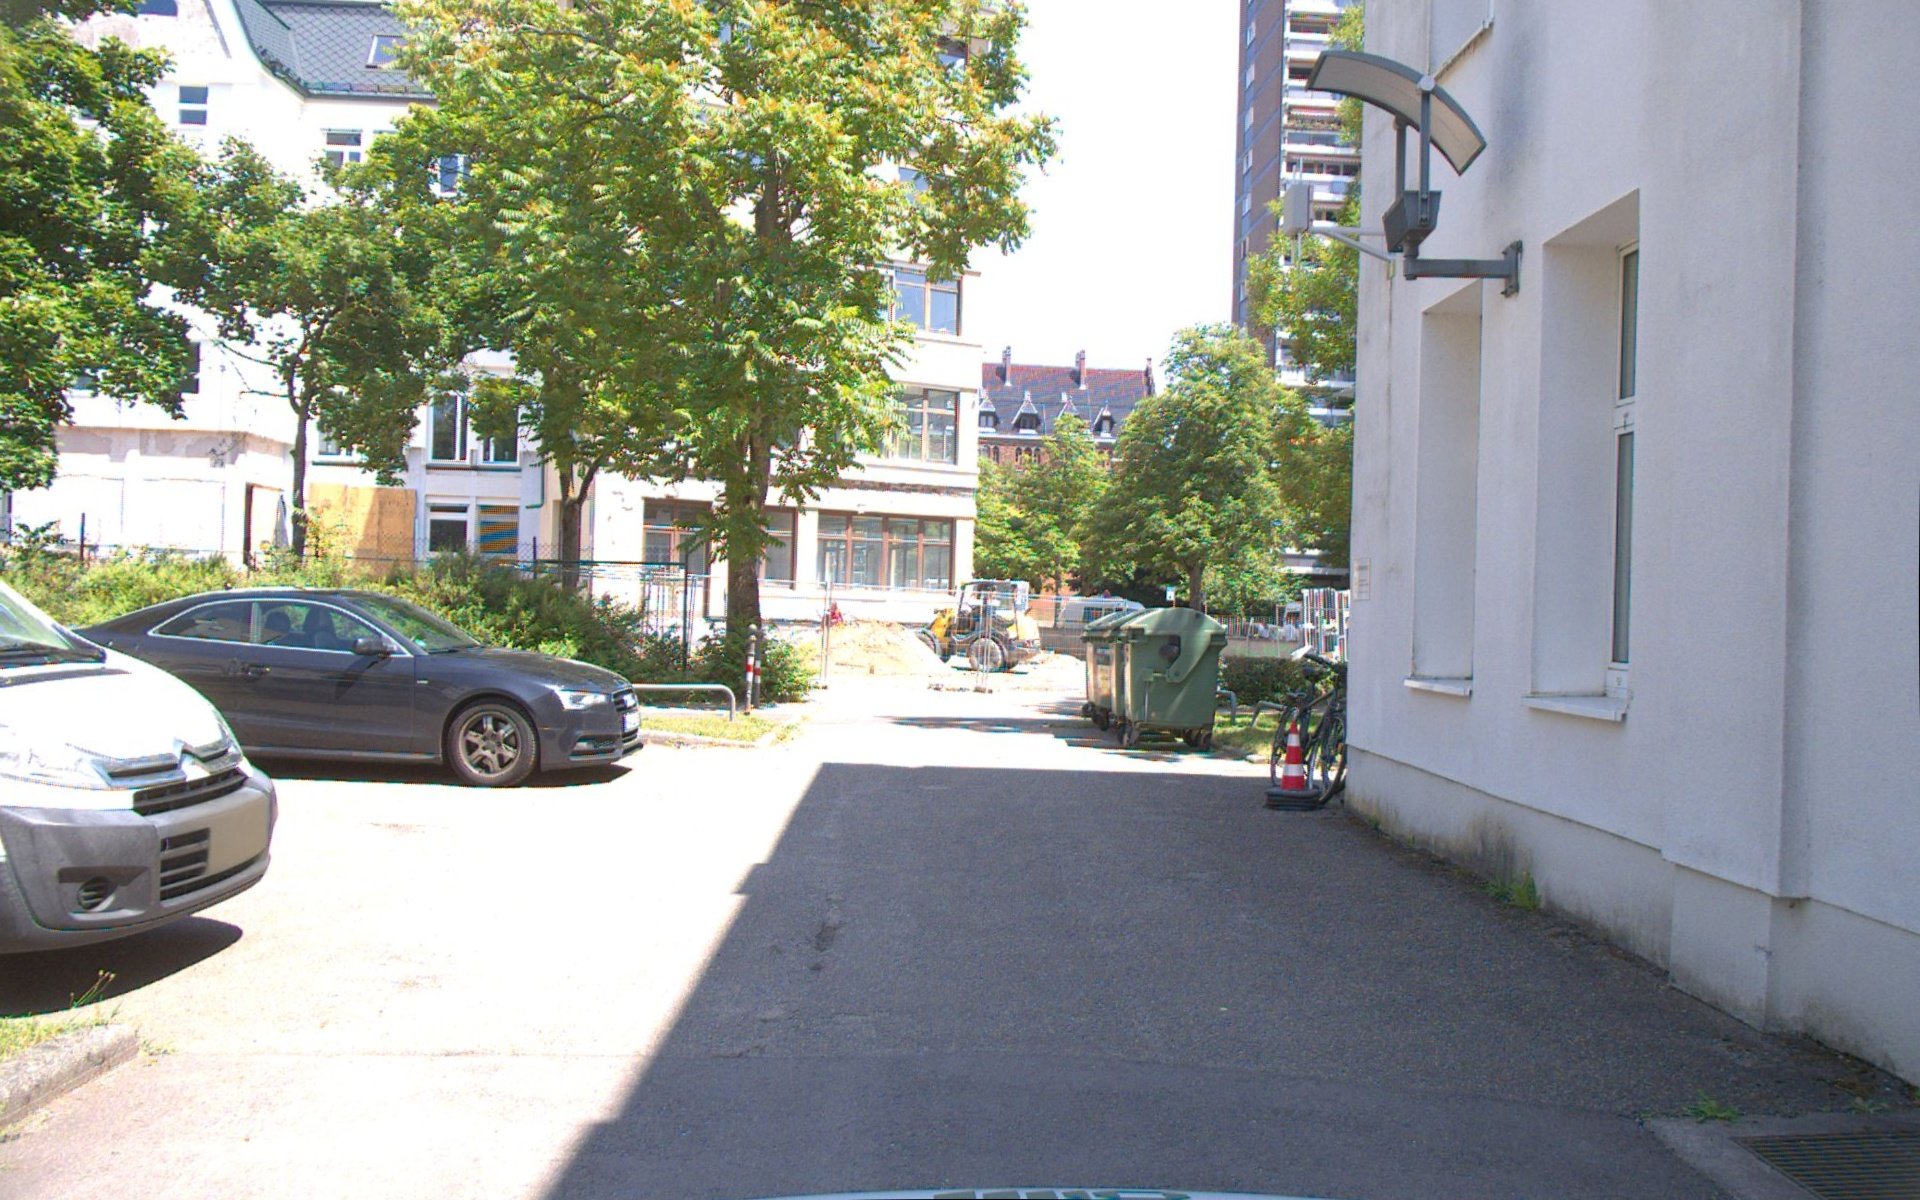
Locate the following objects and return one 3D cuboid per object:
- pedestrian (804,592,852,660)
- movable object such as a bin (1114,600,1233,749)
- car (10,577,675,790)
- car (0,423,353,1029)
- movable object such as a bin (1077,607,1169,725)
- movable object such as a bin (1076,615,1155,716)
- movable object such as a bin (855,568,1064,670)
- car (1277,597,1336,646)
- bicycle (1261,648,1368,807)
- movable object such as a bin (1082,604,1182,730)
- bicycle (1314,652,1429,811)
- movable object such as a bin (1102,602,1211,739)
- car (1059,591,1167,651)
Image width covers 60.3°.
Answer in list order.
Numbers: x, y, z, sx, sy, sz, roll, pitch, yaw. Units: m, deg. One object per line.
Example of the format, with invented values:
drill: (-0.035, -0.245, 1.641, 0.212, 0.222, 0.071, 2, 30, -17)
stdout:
pedestrian: (-3.758, 0.744, 47.064, 0.966, 1.879, 0.914, 1, -1, 35)
movable object such as a bin: (2.241, 0.770, 17.553, 1.053, 1.483, 1.377, 1, -1, 0)
car: (-4.591, 0.610, 12.837, 4.338, 1.404, 2.024, 2, -1, 1)
car: (-5.115, 0.355, 6.324, 4.747, 1.916, 2.067, 2, -1, 1)
movable object such as a bin: (2.141, 0.854, 21.887, 1.053, 1.483, 1.377, 1, -1, 0)
movable object such as a bin: (2.366, 0.992, 25.397, 1.053, 1.483, 1.377, 1, -1, 0)
movable object such as a bin: (-0.014, 0.518, 46.574, 5.300, 2.507, 2.365, 3, 0, 28)
car: (17.415, 1.101, 82.949, 2.139, 2.298, 4.869, 1, -1, 20)
bicycle: (2.746, 0.953, 12.935, 0.397, 1.121, 1.826, 1, -1, -1)
movable object such as a bin: (2.108, 0.814, 20.465, 1.053, 1.483, 1.377, 1, -1, 0)
bicycle: (3.203, 0.989, 12.997, 0.397, 1.121, 1.826, 1, -1, -1)
movable object such as a bin: (2.238, 0.794, 18.996, 1.053, 1.483, 1.377, 1, -1, 0)
car: (6.476, 0.873, 70.747, 1.972, 2.459, 5.191, 2, -1, -30)
